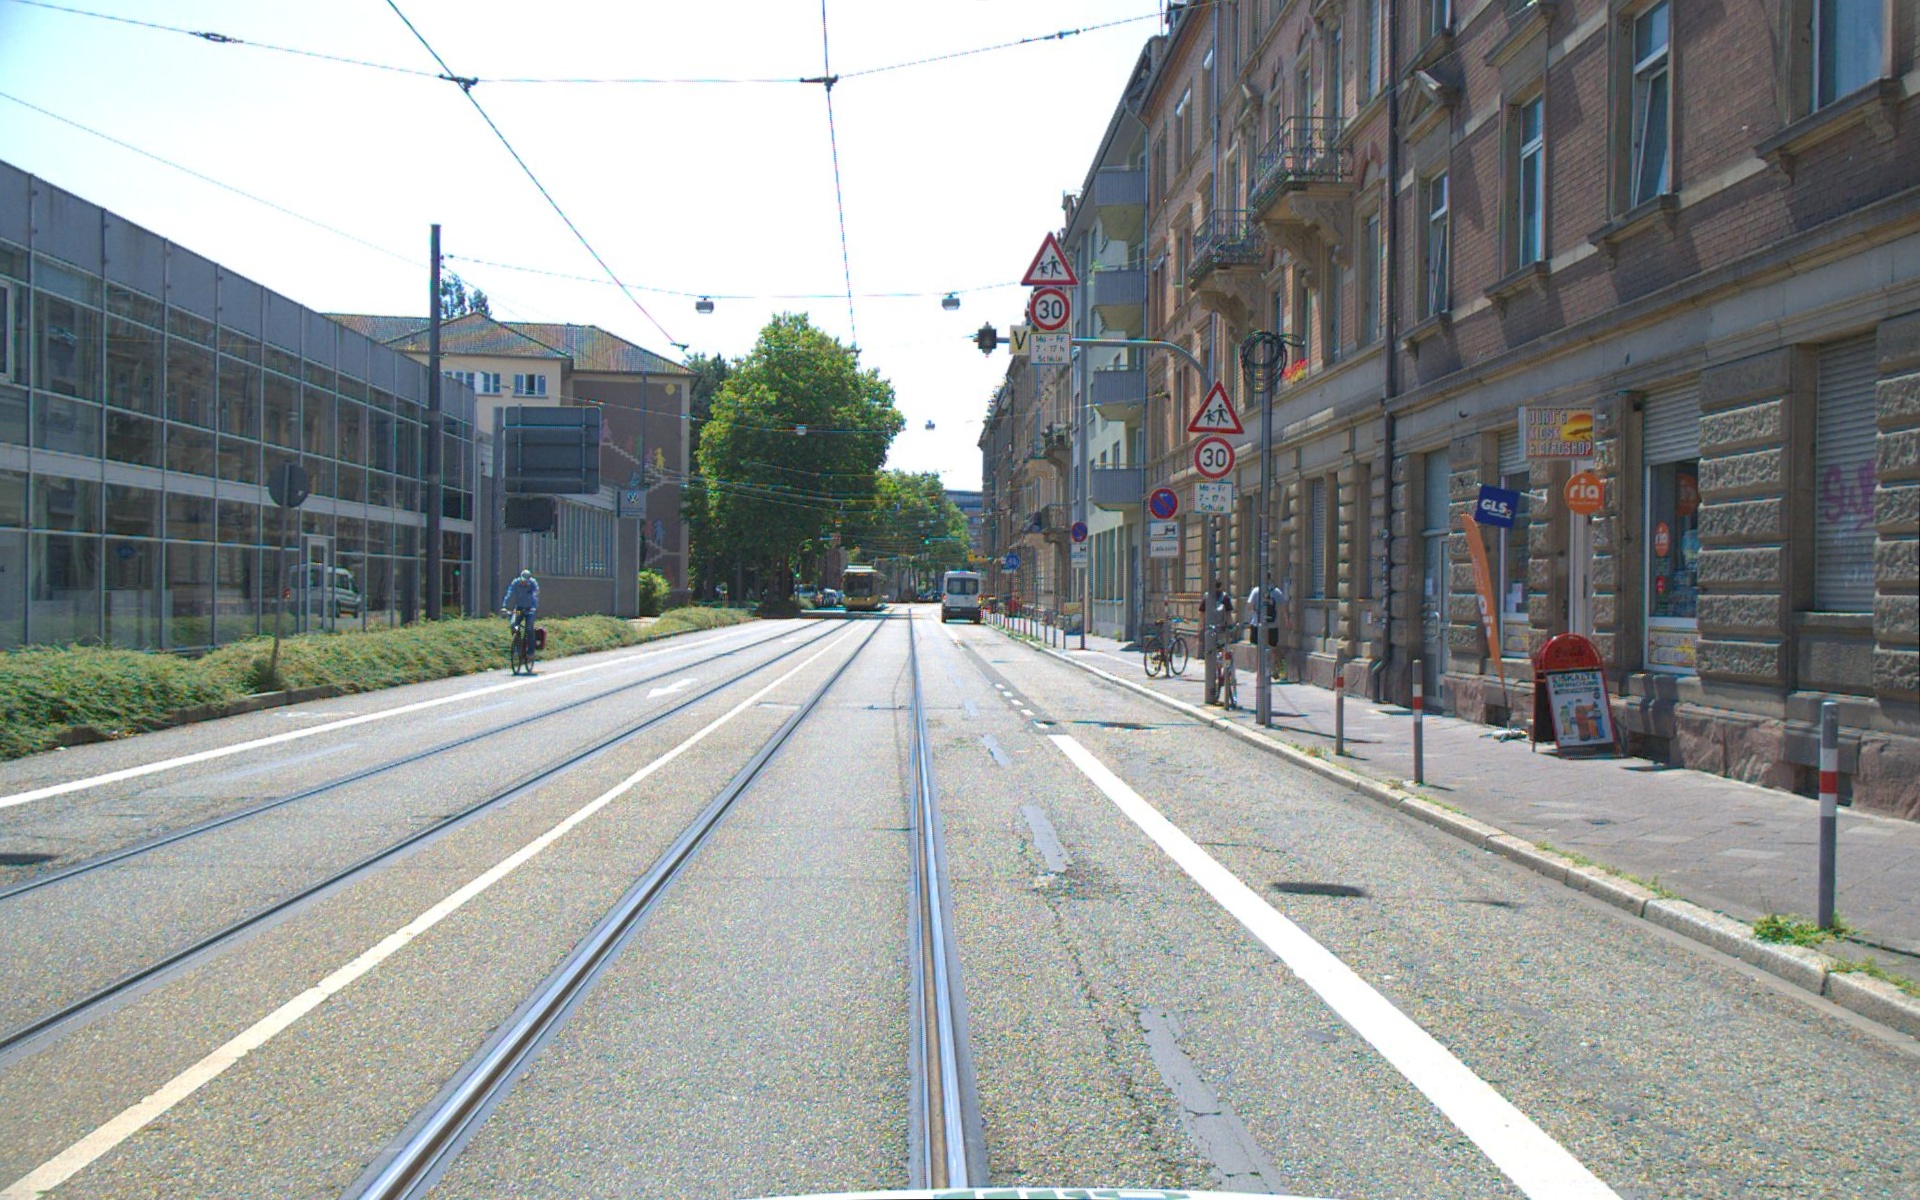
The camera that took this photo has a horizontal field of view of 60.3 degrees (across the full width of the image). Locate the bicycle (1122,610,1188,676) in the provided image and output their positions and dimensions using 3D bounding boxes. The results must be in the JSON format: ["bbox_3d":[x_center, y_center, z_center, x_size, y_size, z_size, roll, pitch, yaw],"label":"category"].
[{"bbox_3d":[3.627,0.779,30.654,0.489,1.150,2.241,0,0,26],"label":"bicycle"}]

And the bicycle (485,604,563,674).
[{"bbox_3d":[-7.692,0.658,29.274,0.683,1.164,2.496,0,0,1],"label":"bicycle"}]

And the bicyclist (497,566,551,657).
[{"bbox_3d":[-7.700,0.193,29.255,0.683,1.575,0.980,0,0,0],"label":"bicyclist"}]

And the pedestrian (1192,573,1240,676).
[{"bbox_3d":[4.389,0.414,28.386,0.705,1.750,0.643,0,0,-1],"label":"pedestrian"}]

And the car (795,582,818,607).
[{"bbox_3d":[-12.425,-0.422,134.060,1.765,1.956,3.997,1,0,-4],"label":"car"}]

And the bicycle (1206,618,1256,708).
[{"bbox_3d":[3.678,0.824,22.566,0.438,1.116,2.424,0,0,4],"label":"bicycle"}]

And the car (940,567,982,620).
[{"bbox_3d":[0.022,-0.321,84.320,2.025,2.544,5.453,1,0,-1],"label":"car"}]

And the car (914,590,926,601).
[{"bbox_3d":[-5.673,-0.655,235.179,1.498,1.433,3.487,1,0,-4],"label":"car"}]

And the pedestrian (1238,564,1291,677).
[{"bbox_3d":[5.214,0.349,28.320,0.688,1.881,0.643,-3,0,-1],"label":"pedestrian"}]

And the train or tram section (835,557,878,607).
[{"bbox_3d":[-7.862,-1.357,127.337,2.901,3.643,13.417,1,0,-2],"label":"train or tram section"}]
